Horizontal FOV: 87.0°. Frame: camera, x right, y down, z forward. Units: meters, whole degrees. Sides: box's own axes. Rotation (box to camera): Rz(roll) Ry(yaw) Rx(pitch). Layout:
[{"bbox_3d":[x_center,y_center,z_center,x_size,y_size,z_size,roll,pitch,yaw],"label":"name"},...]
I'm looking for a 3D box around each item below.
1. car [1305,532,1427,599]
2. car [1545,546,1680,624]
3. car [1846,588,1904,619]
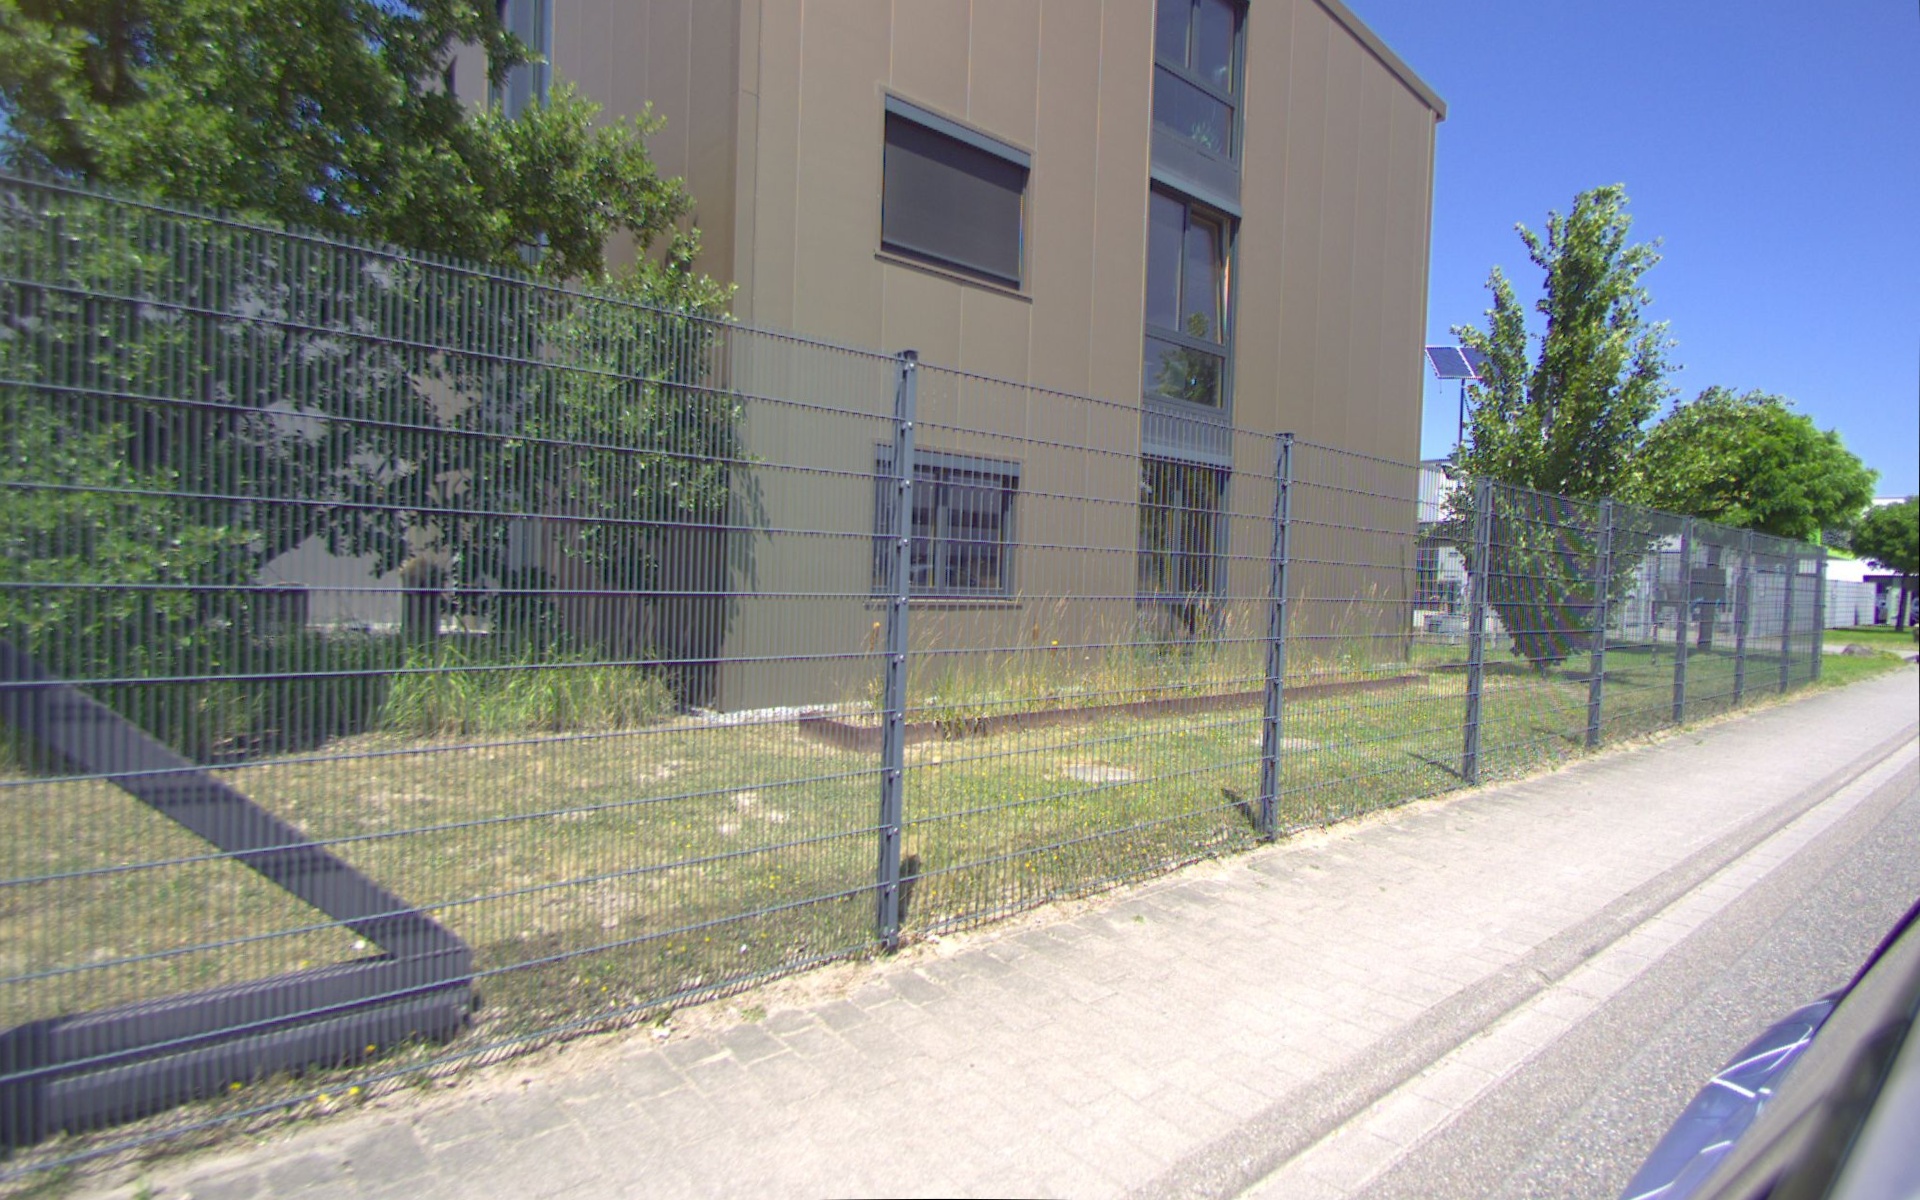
[{"bbox_3d":[16.809,-1.382,41.778,5.757,2.524,2.135,0,4,-41],"label":"car"},{"bbox_3d":[23.779,-0.540,36.739,6.902,2.524,2.135,0,4,-41],"label":"car"},{"bbox_3d":[47.567,0.135,52.571,3.985,1.415,1.742,-2,3,-41],"label":"car"}]
